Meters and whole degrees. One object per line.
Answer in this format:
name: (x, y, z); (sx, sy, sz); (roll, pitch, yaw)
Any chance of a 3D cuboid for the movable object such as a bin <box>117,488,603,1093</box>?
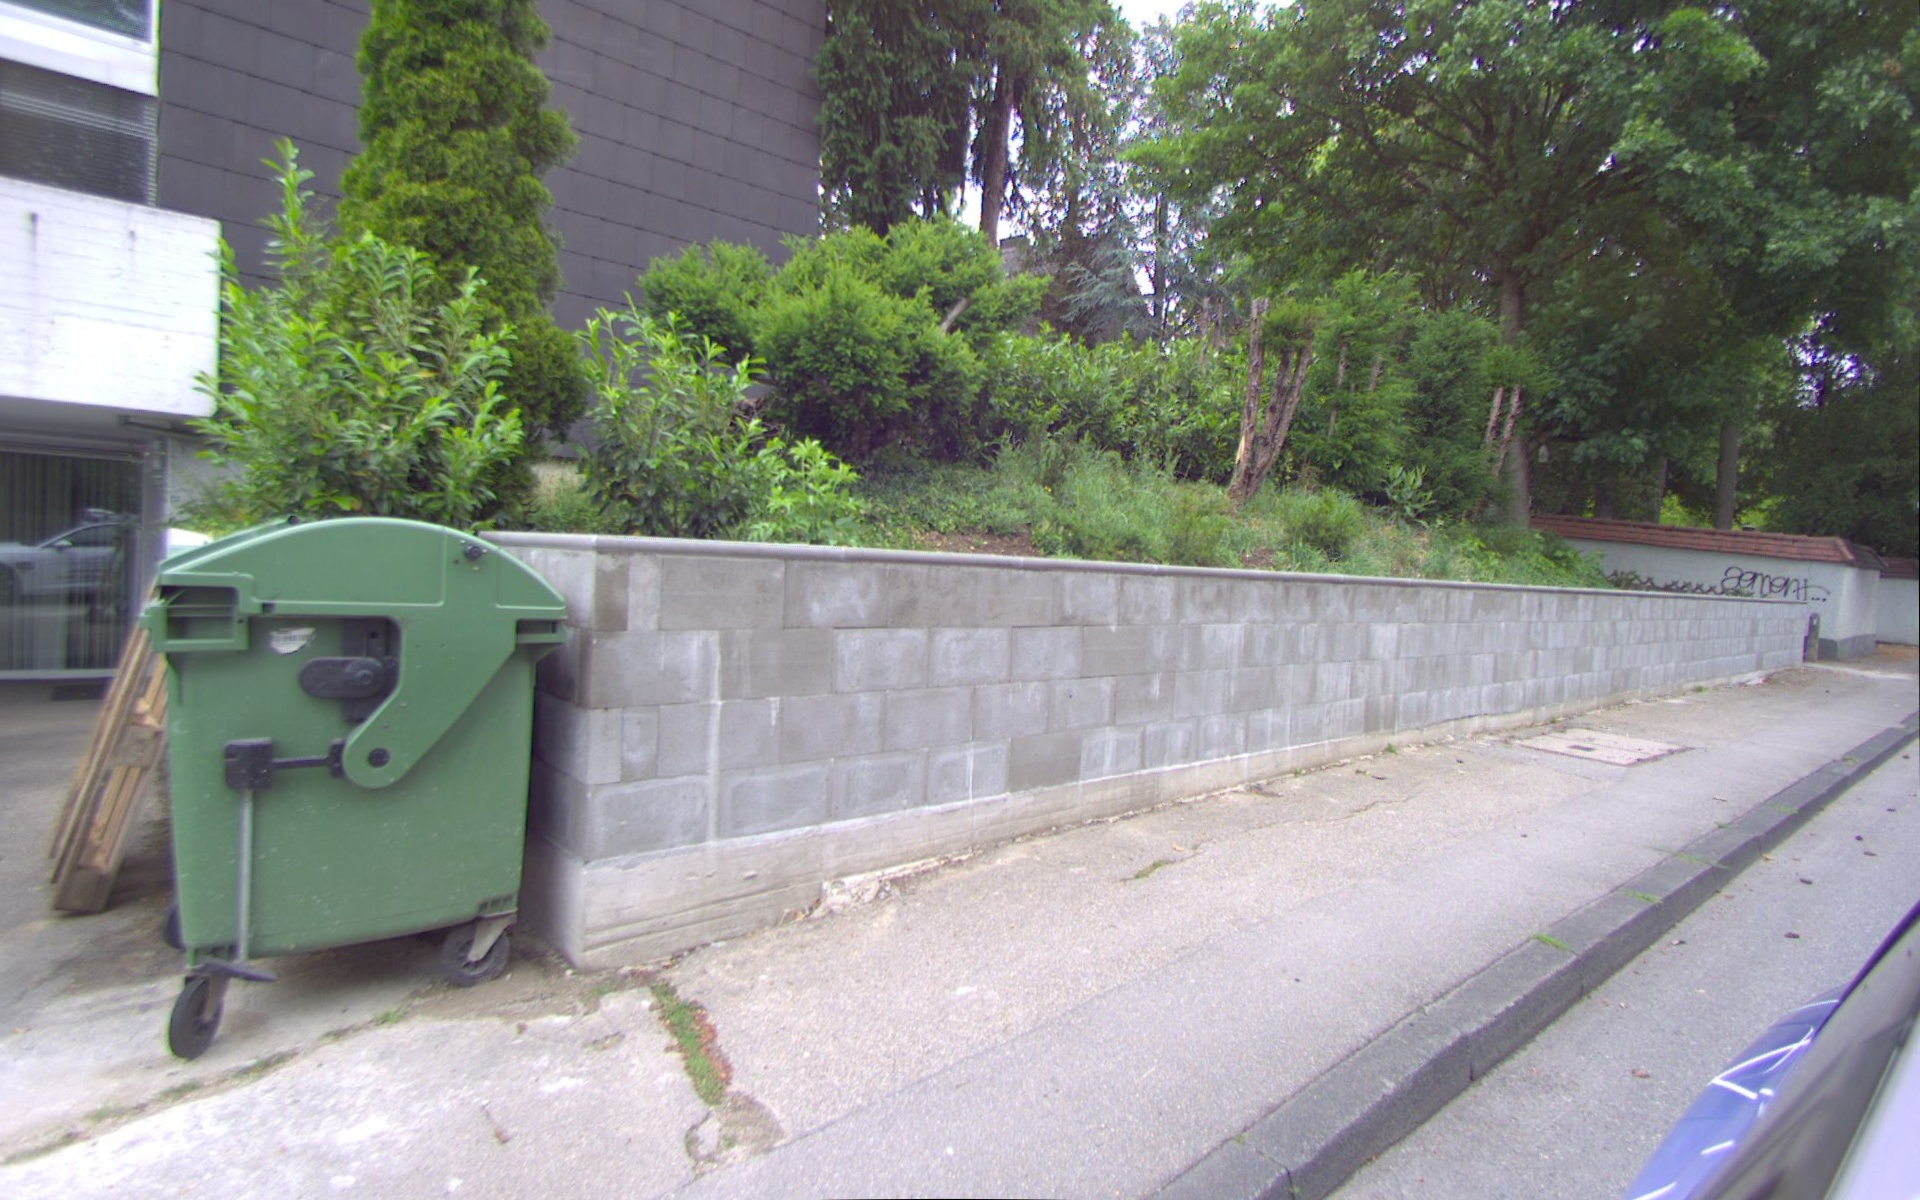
movable object such as a bin: (-1.997, 0.414, 3.308); (1.160, 1.468, 1.303); (0, 4, -40)
